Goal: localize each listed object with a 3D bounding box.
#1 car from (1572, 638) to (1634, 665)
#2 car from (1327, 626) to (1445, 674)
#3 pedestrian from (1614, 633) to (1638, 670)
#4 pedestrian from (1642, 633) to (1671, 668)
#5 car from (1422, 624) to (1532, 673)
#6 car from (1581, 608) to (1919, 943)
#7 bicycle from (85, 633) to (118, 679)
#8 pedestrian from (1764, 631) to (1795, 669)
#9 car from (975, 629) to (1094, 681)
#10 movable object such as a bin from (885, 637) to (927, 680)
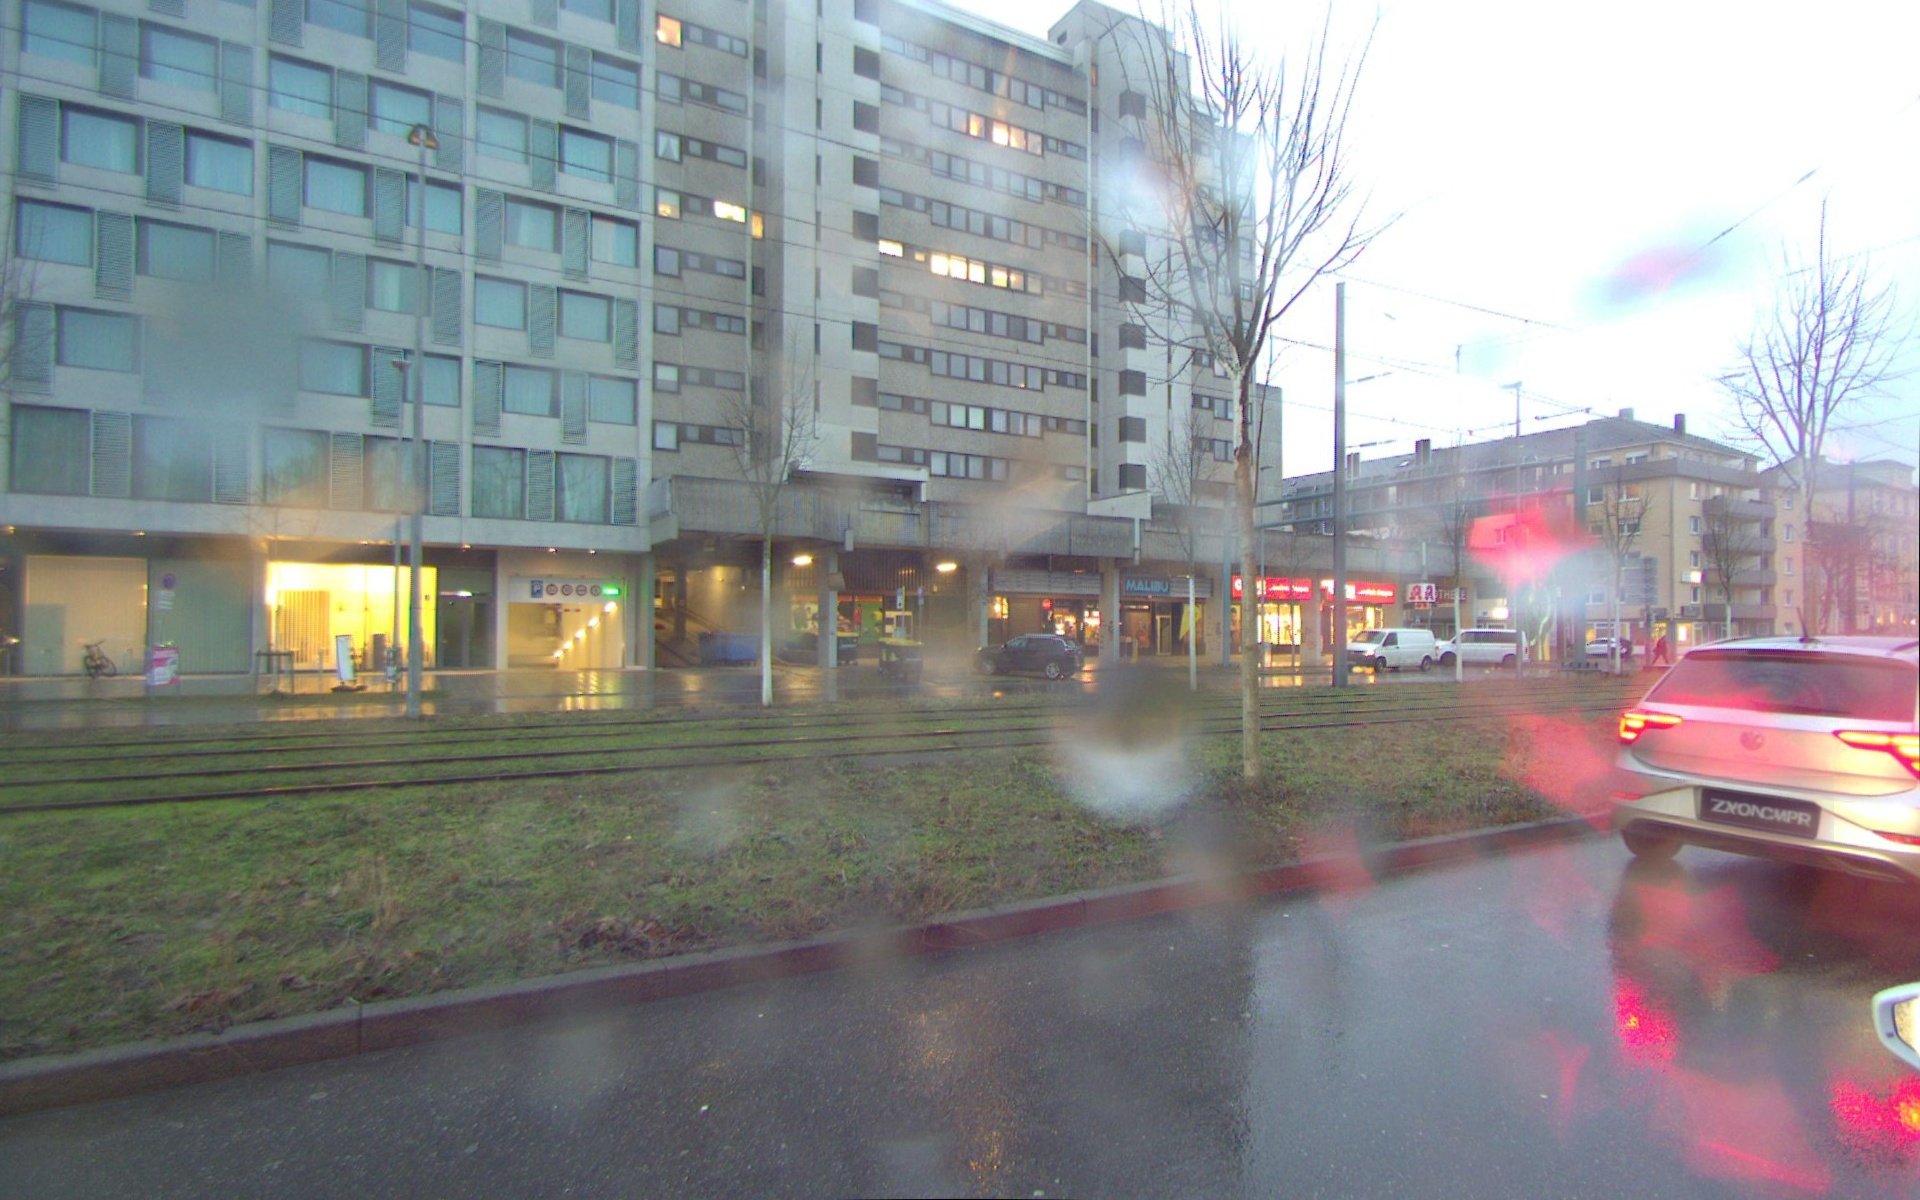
[{"bbox_3d":[51.221,4.079,80.061,1.826,1.968,3.720,2,0,-37],"label":"car"},{"bbox_3d":[20.053,2.351,47.224,5.491,2.073,1.987,2,0,-26],"label":"car"},{"bbox_3d":[37.115,2.846,55.982,1.054,2.040,1.004,-1,-2,36],"label":"pedestrian"},{"bbox_3d":[40.754,2.938,58.764,0.990,2.040,0.959,1,-1,-14],"label":"pedestrian"},{"bbox_3d":[27.146,2.517,52.920,4.734,2.274,2.001,2,0,15],"label":"car"},{"bbox_3d":[5.844,0.860,6.305,3.954,1.554,1.684,1,-1,-31],"label":"car"},{"bbox_3d":[-25.096,1.616,29.378,0.460,1.255,1.527,2,0,-31],"label":"bicycle"},{"bbox_3d":[44.627,2.713,54.711,1.253,2.040,1.004,-1,-2,36],"label":"pedestrian"},{"bbox_3d":[2.828,2.065,38.344,4.066,1.715,1.982,2,0,28],"label":"car"},{"bbox_3d":[-1.887,2.024,35.021,1.023,1.445,1.061,2,0,-41],"label":"movable object such as a bin"}]
